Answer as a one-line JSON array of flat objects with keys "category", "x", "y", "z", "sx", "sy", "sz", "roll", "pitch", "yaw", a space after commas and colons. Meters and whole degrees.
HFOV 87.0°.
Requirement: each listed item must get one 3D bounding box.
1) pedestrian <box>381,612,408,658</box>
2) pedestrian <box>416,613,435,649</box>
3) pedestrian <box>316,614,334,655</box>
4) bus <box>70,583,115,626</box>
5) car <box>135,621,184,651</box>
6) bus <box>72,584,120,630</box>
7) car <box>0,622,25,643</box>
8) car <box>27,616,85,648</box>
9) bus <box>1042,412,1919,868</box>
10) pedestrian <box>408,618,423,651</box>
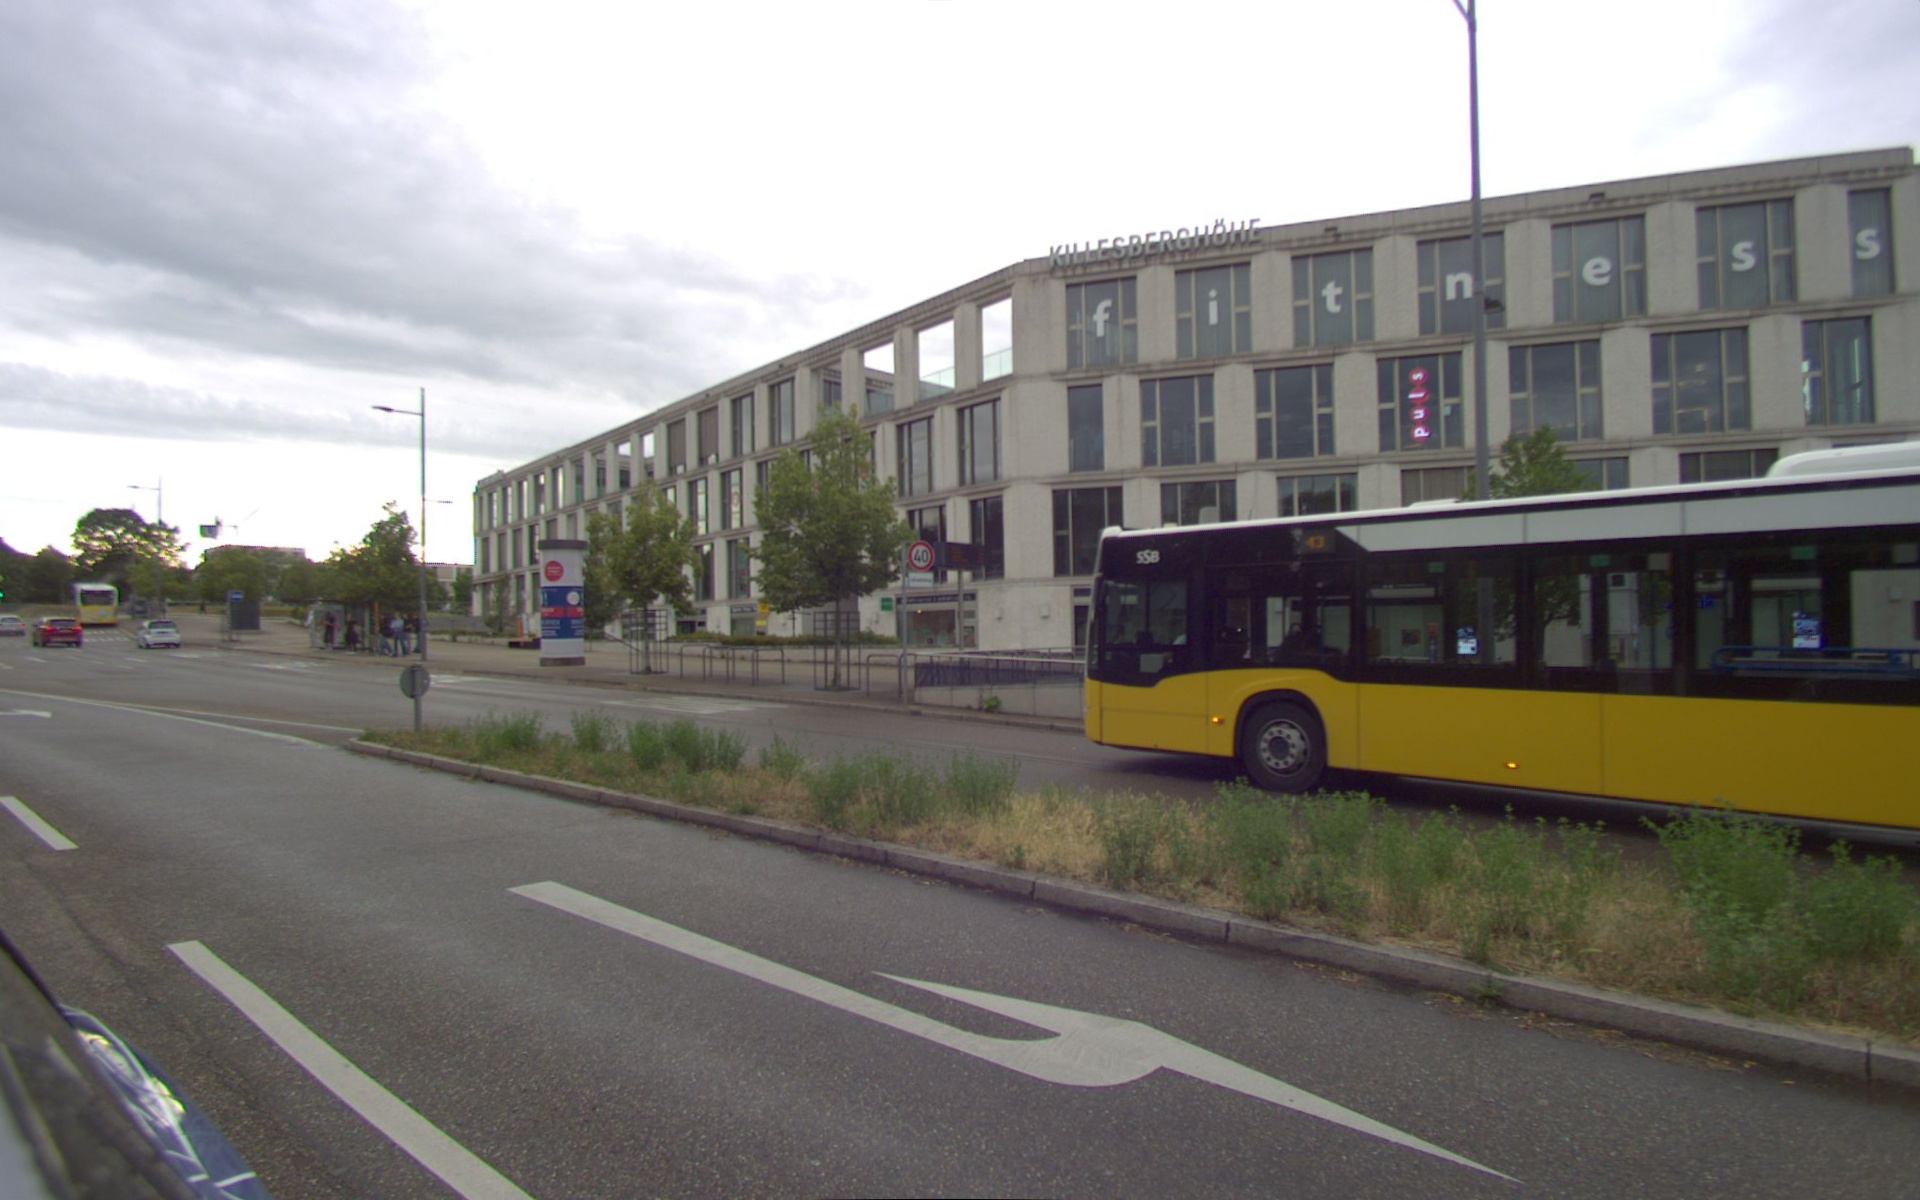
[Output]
[{"category": "pedestrian", "x": -23.158, "y": 1.440, "z": 41.454, "sx": 0.746, "sy": 1.856, "sz": 0.745, "roll": -1, "pitch": -1, "yaw": 43}, {"category": "pedestrian", "x": -26.900, "y": 1.559, "z": 50.917, "sx": 0.857, "sy": 1.775, "sz": 0.592, "roll": -1, "pitch": -1, "yaw": 43}, {"category": "pedestrian", "x": -29.410, "y": 1.579, "z": 46.889, "sx": 0.755, "sy": 1.856, "sz": 0.502, "roll": -1, "pitch": -1, "yaw": 40}, {"category": "bus", "x": -77.474, "y": 0.311, "z": 90.315, "sx": 2.787, "sy": 3.498, "sz": 9.987, "roll": -1, "pitch": 2, "yaw": -42}, {"category": "car", "x": -44.955, "y": 1.997, "z": 56.811, "sx": 2.971, "sy": 1.519, "sz": 1.597, "roll": 0, "pitch": 1, "yaw": 41}, {"category": "bus", "x": -71.383, "y": 0.492, "z": 83.575, "sx": 2.787, "sy": 3.498, "sz": 8.242, "roll": -1, "pitch": 2, "yaw": -42}, {"category": "car", "x": -66.995, "y": 2.243, "z": 70.883, "sx": 3.876, "sy": 1.427, "sz": 1.744, "roll": -1, "pitch": -4, "yaw": 41}, {"category": "car", "x": -51.514, "y": 1.832, "z": 57.646, "sx": 4.734, "sy": 1.696, "sz": 1.834, "roll": -1, "pitch": -4, "yaw": 41}, {"category": "bus", "x": 5.469, "y": 0.338, "z": 10.067, "sx": 9.761, "sy": 3.127, "sz": 2.855, "roll": -1, "pitch": -2, "yaw": 45}, {"category": "pedestrian", "x": -24.321, "y": 1.552, "z": 45.213, "sx": 0.510, "sy": 1.462, "sz": 0.422, "roll": -1, "pitch": -1, "yaw": 41}]
